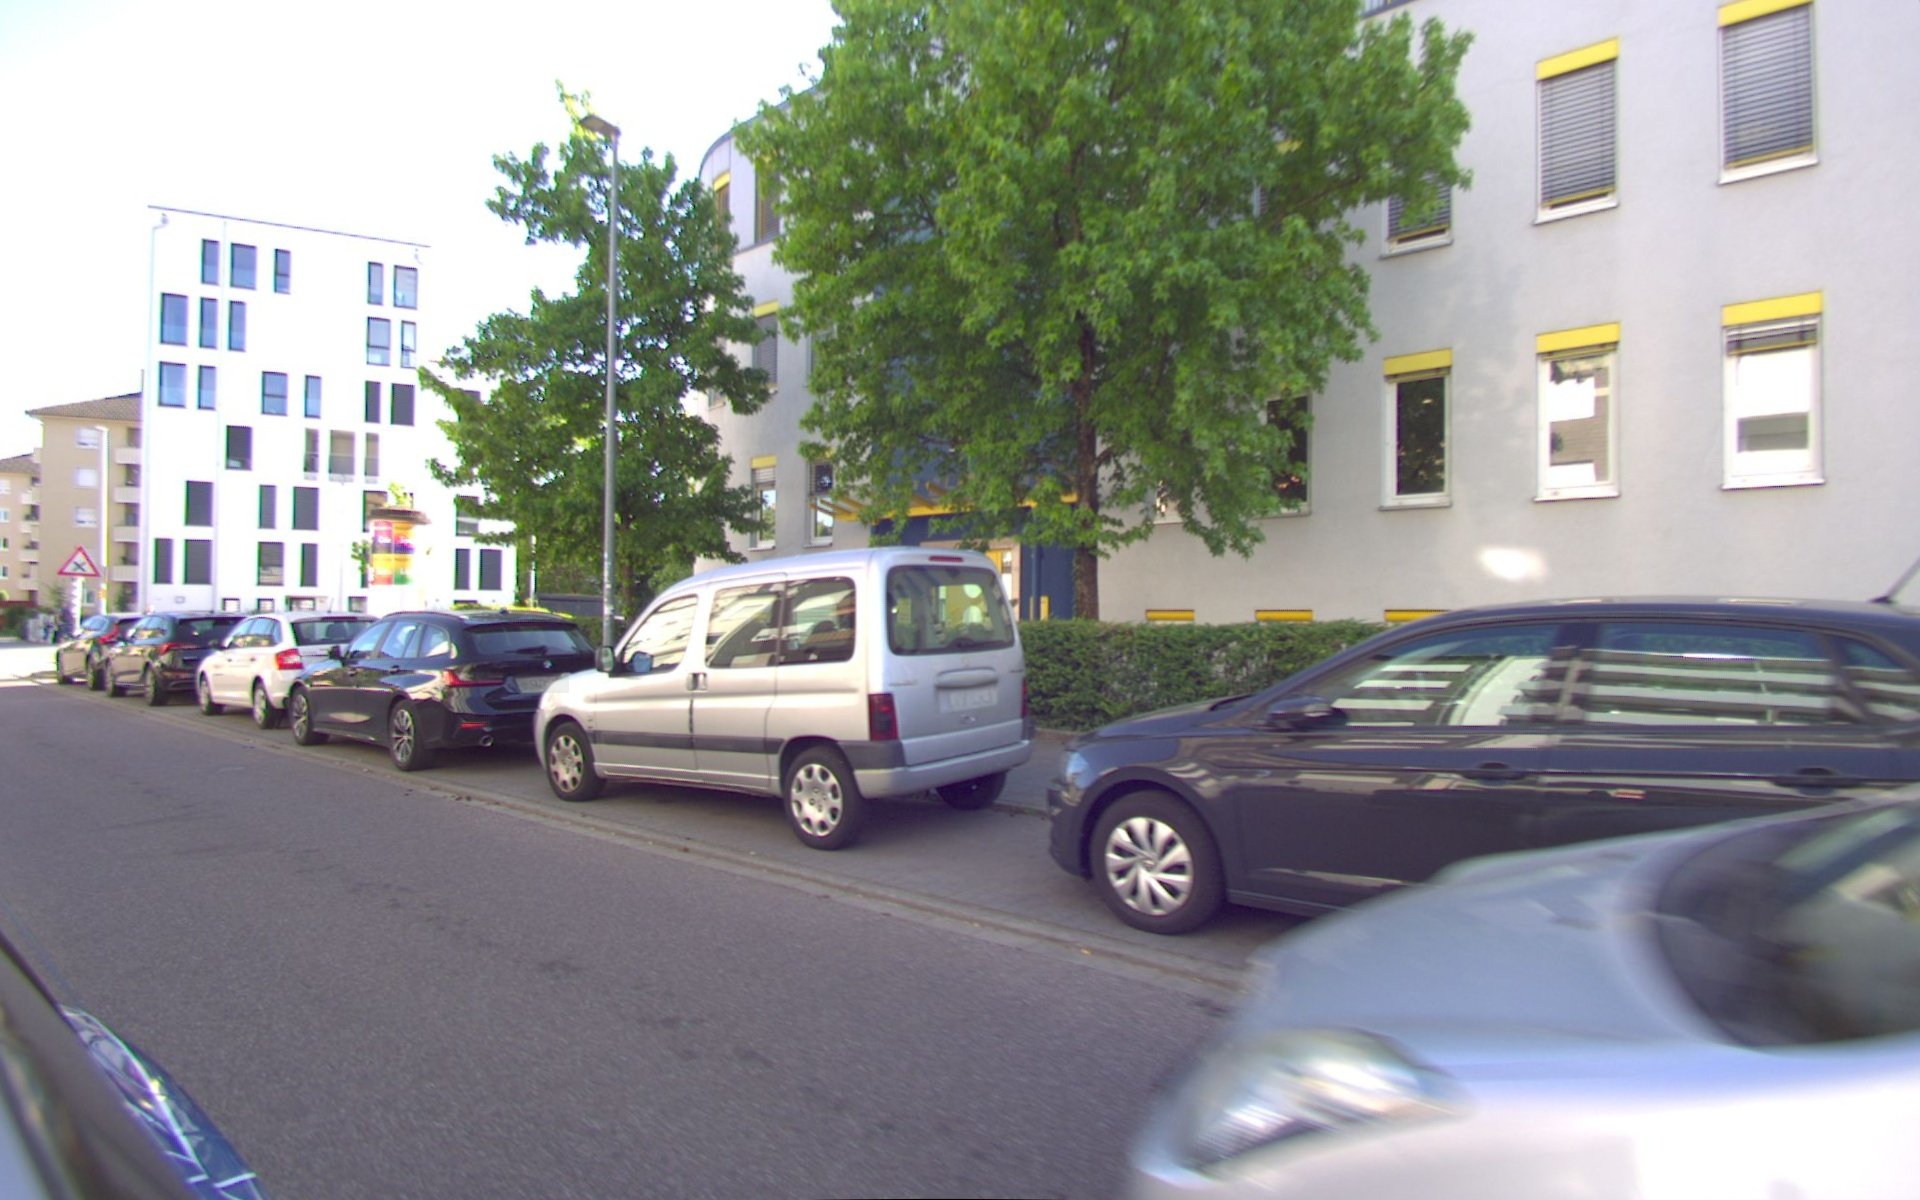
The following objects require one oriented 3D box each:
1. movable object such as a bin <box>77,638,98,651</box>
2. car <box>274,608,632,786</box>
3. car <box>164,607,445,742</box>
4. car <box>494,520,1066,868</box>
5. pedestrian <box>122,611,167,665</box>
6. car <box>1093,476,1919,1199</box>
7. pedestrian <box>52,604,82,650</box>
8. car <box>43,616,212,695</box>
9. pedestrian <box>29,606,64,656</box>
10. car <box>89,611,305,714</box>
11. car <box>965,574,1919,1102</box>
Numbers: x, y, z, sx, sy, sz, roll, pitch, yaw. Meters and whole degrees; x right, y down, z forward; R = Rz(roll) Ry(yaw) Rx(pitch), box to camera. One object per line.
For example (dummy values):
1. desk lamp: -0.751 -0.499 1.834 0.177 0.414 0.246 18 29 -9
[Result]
1. movable object such as a bin: -38.498 1.977 44.655 0.676 0.546 0.272 1 -1 -4
2. car: -5.378 0.832 10.428 4.610 1.450 1.714 -1 -2 42
3. car: -9.157 0.896 13.989 4.619 1.541 1.890 0 -1 39
4. car: -1.507 0.544 7.409 4.335 1.853 1.671 -1 -2 38
5. pedestrian: -26.765 1.250 33.224 0.962 1.727 0.876 1 -2 -28
6. car: 2.279 0.635 0.694 4.104 1.497 1.708 -1 -2 42
7. pedestrian: -37.043 1.114 42.002 0.778 1.899 0.849 2 0 -35
8. car: -16.604 1.025 20.128 4.218 1.421 1.771 -1 -1 39
9. pedestrian: -39.525 1.349 43.797 0.951 2.137 0.771 -1 -1 19
10. car: -12.946 0.951 17.090 4.375 1.490 1.890 0 -1 39
11. car: 2.072 0.674 4.243 3.994 1.451 1.583 -1 -1 38
